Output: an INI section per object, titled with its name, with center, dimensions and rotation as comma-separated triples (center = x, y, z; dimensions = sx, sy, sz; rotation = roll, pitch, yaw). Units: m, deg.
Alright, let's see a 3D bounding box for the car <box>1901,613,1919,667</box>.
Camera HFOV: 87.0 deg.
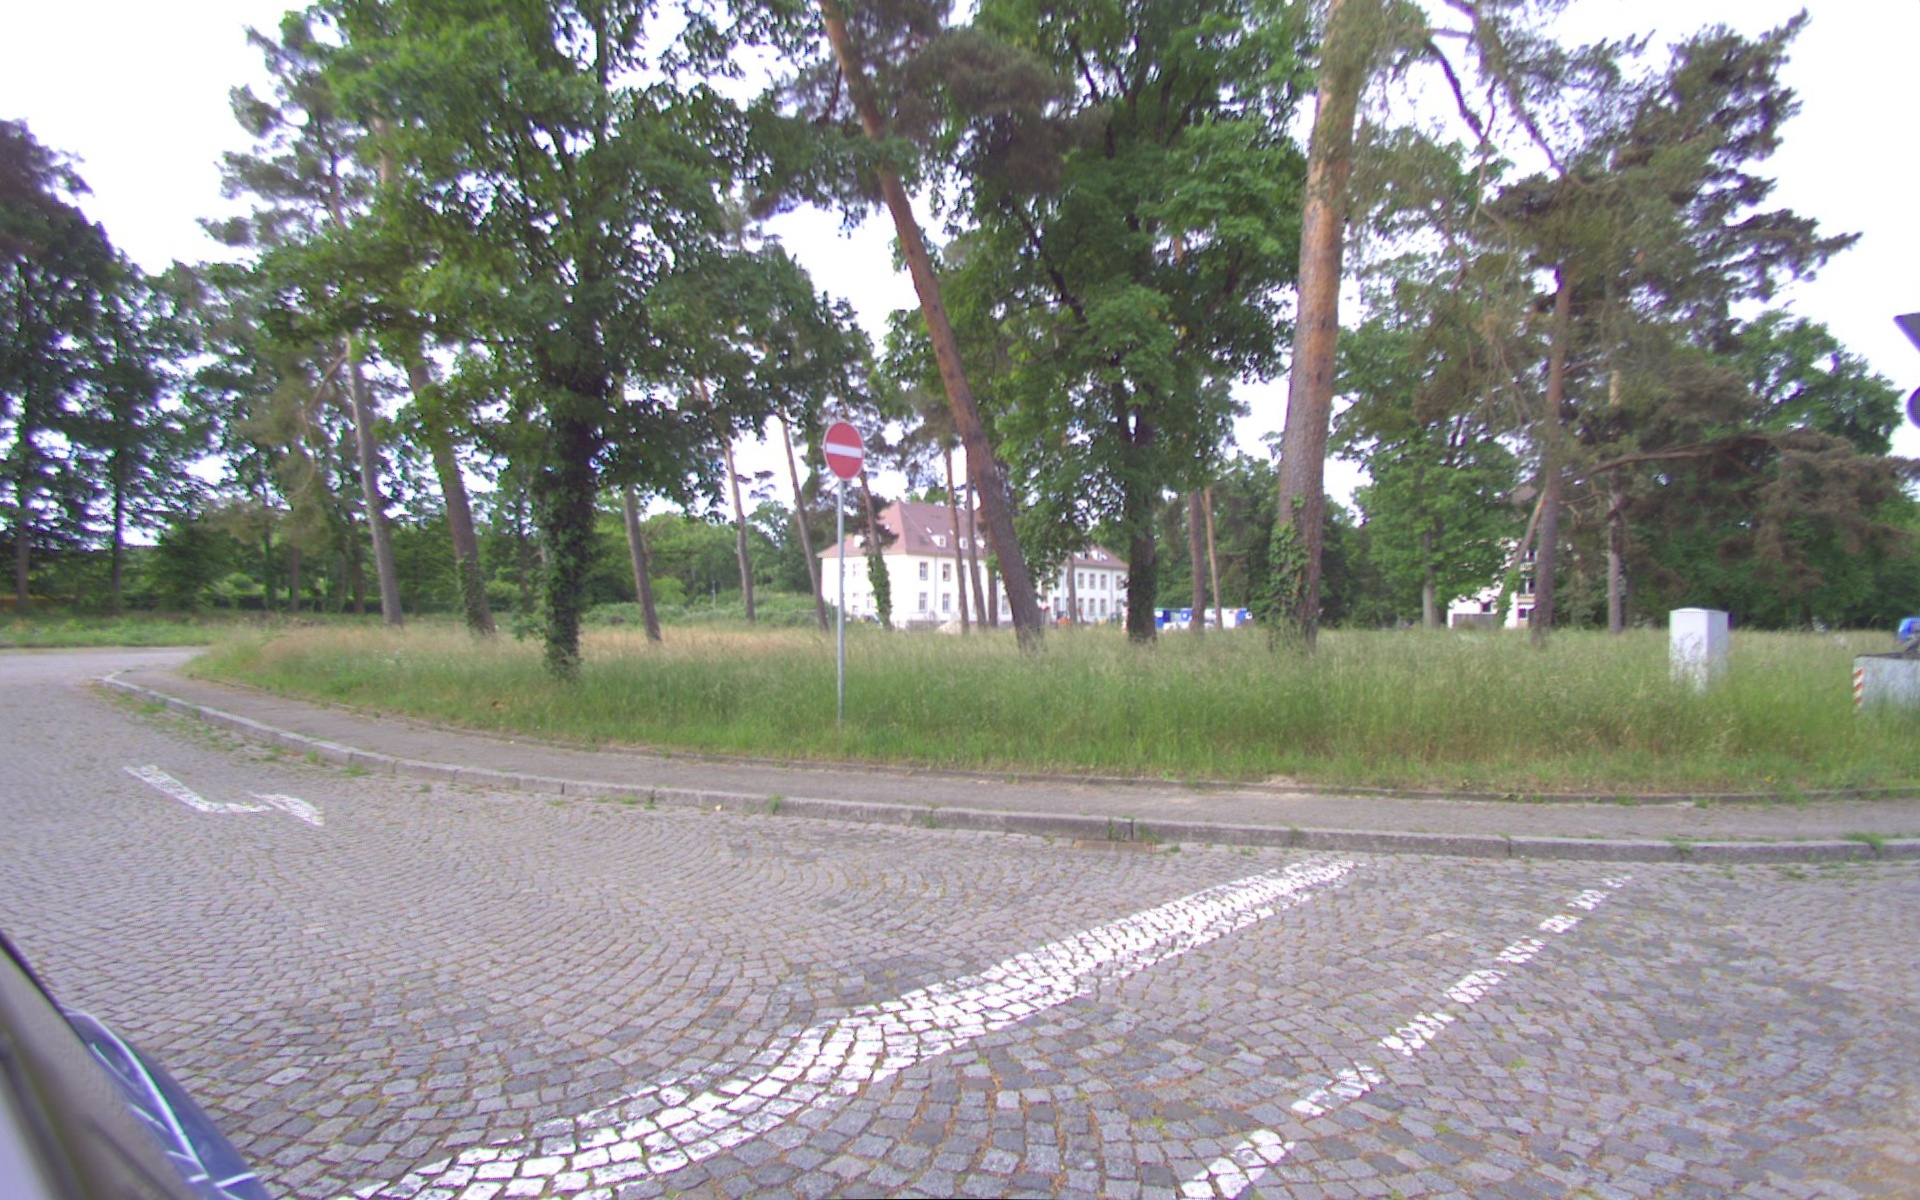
[car]
center = 37.498, 1.441, 36.761
dimensions = 4.794, 1.996, 1.969
rotation = -2, -2, 43
